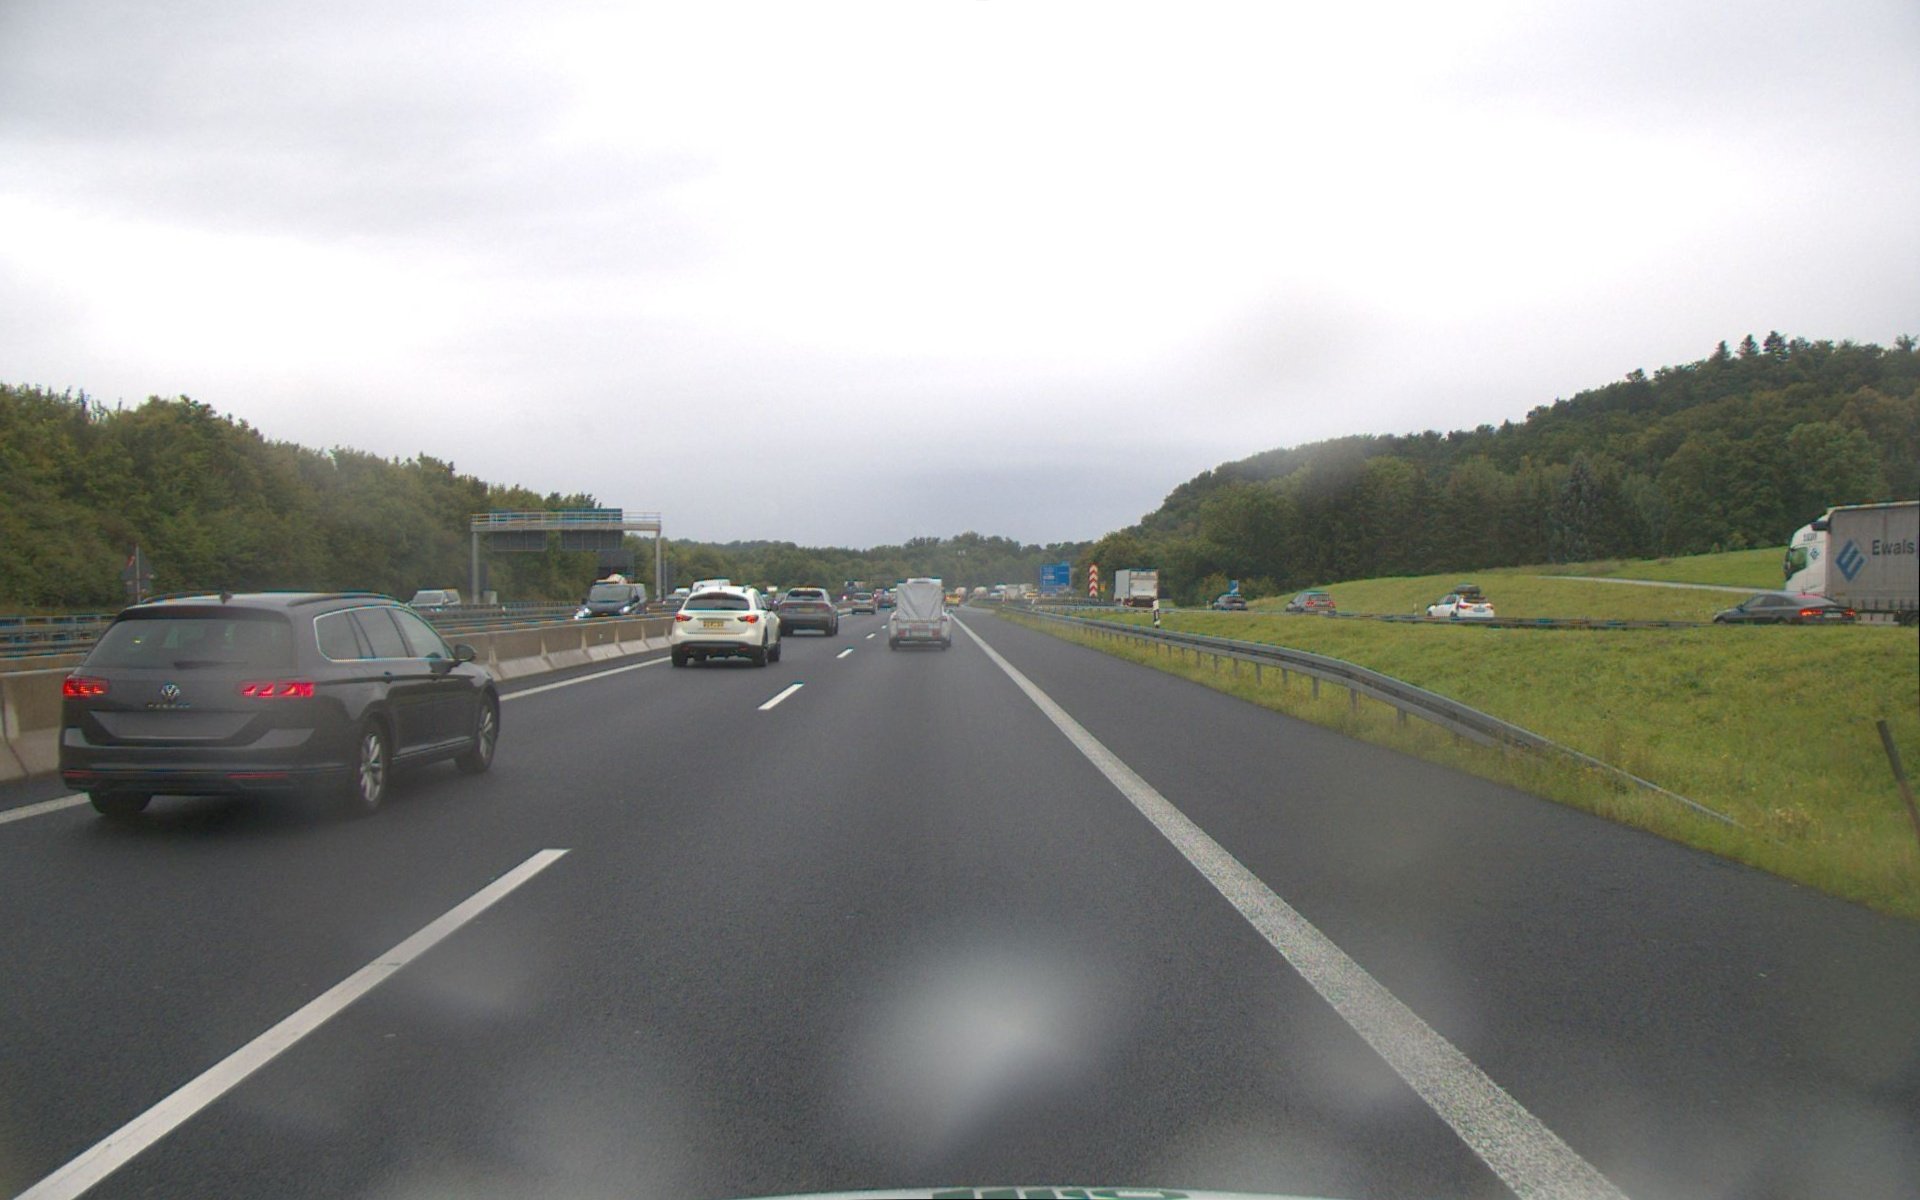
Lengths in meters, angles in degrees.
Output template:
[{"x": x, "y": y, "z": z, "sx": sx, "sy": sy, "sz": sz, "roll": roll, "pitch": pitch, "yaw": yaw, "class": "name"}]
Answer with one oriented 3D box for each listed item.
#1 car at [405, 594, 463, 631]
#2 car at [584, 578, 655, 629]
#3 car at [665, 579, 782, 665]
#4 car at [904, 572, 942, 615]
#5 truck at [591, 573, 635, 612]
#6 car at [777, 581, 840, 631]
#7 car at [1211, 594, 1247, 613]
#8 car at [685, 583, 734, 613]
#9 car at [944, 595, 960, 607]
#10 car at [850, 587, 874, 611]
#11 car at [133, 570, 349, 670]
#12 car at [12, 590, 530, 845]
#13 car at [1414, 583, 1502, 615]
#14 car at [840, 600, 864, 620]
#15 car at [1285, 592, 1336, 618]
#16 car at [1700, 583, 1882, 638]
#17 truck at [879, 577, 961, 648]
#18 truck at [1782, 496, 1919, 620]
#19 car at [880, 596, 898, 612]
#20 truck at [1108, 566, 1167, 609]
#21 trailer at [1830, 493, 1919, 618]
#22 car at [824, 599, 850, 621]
[{"x": -30.012, "y": 0.674, "z": 94.556, "sx": 1.953, "sy": 2.049, "sz": 4.713, "roll": 1, "pitch": 0, "yaw": -2, "class": "car"}, {"x": -13.392, "y": 0.115, "z": 65.237, "sx": 1.953, "sy": 1.868, "sz": 4.677, "roll": 1, "pitch": 0, "yaw": -2, "class": "car"}, {"x": -4.953, "y": 0.427, "z": 35.253, "sx": 2.007, "sy": 1.700, "sz": 4.539, "roll": 1, "pitch": 0, "yaw": -2, "class": "car"}, {"x": -2.551, "y": -0.414, "z": 111.623, "sx": 2.285, "sy": 2.773, "sz": 6.534, "roll": 0, "pitch": 0, "yaw": -4, "class": "car"}, {"x": -34.683, "y": -0.764, "z": 165.727, "sx": 2.631, "sy": 3.725, "sz": 9.554, "roll": -1, "pitch": 0, "yaw": -2, "class": "truck"}, {"x": -5.502, "y": 0.210, "z": 60.511, "sx": 1.936, "sy": 1.733, "sz": 4.801, "roll": 1, "pitch": 0, "yaw": -1, "class": "car"}, {"x": 18.922, "y": 0.252, "z": 116.506, "sx": 1.664, "sy": 1.311, "sz": 3.532, "roll": 1, "pitch": 0, "yaw": -4, "class": "car"}, {"x": -15.184, "y": -0.117, "z": 100.528, "sx": 2.311, "sy": 1.722, "sz": 5.903, "roll": 0, "pitch": 0, "yaw": -3, "class": "car"}, {"x": -1.123, "y": 0.105, "z": 235.069, "sx": 1.955, "sy": 1.579, "sz": 3.995, "roll": 1, "pitch": 0, "yaw": -6, "class": "car"}, {"x": -7.441, "y": -0.095, "z": 125.933, "sx": 1.703, "sy": 1.825, "sz": 3.999, "roll": 1, "pitch": 0, "yaw": -1, "class": "car"}, {"x": -13.854, "y": 0.361, "z": 32.264, "sx": 2.112, "sy": 1.796, "sz": 4.959, "roll": 0, "pitch": 0, "yaw": -1, "class": "car"}, {"x": -4.671, "y": 0.685, "z": 12.119, "sx": 1.751, "sy": 1.484, "sz": 4.802, "roll": 0, "pitch": 0, "yaw": 0, "class": "car"}, {"x": 23.085, "y": -0.043, "z": 76.890, "sx": 1.949, "sy": 1.401, "sz": 5.068, "roll": 0, "pitch": 0, "yaw": -9, "class": "car"}, {"x": -9.332, "y": 0.829, "z": 143.161, "sx": 1.782, "sy": 1.691, "sz": 4.016, "roll": 0, "pitch": 0, "yaw": -1, "class": "car"}, {"x": 18.062, "y": 0.264, "z": 85.402, "sx": 1.510, "sy": 1.311, "sz": 3.529, "roll": 1, "pitch": 0, "yaw": -7, "class": "car"}, {"x": 22.786, "y": 0.264, "z": 45.647, "sx": 1.948, "sy": 1.401, "sz": 5.312, "roll": 0, "pitch": 0, "yaw": -6, "class": "car"}, {"x": -1.175, "y": 0.330, "z": 47.657, "sx": 2.197, "sy": 1.871, "sz": 6.582, "roll": 1, "pitch": 0, "yaw": -2, "class": "truck"}, {"x": 28.637, "y": -1.211, "z": 51.170, "sx": 2.883, "sy": 3.588, "sz": 5.917, "roll": 1, "pitch": 0, "yaw": -8, "class": "truck"}, {"x": -7.160, "y": 0.413, "z": 167.317, "sx": 1.612, "sy": 1.601, "sz": 3.999, "roll": 1, "pitch": 0, "yaw": -1, "class": "car"}, {"x": 15.936, "y": -1.113, "z": 148.987, "sx": 3.750, "sy": 3.723, "sz": 8.264, "roll": 1, "pitch": 0, "yaw": -5, "class": "truck"}, {"x": 29.133, "y": -1.257, "z": 47.636, "sx": 2.883, "sy": 3.588, "sz": 8.405, "roll": 1, "pitch": 0, "yaw": -8, "class": "trailer"}, {"x": -9.581, "y": 0.784, "z": 128.759, "sx": 1.782, "sy": 1.691, "sz": 4.016, "roll": 0, "pitch": 0, "yaw": -1, "class": "car"}]
